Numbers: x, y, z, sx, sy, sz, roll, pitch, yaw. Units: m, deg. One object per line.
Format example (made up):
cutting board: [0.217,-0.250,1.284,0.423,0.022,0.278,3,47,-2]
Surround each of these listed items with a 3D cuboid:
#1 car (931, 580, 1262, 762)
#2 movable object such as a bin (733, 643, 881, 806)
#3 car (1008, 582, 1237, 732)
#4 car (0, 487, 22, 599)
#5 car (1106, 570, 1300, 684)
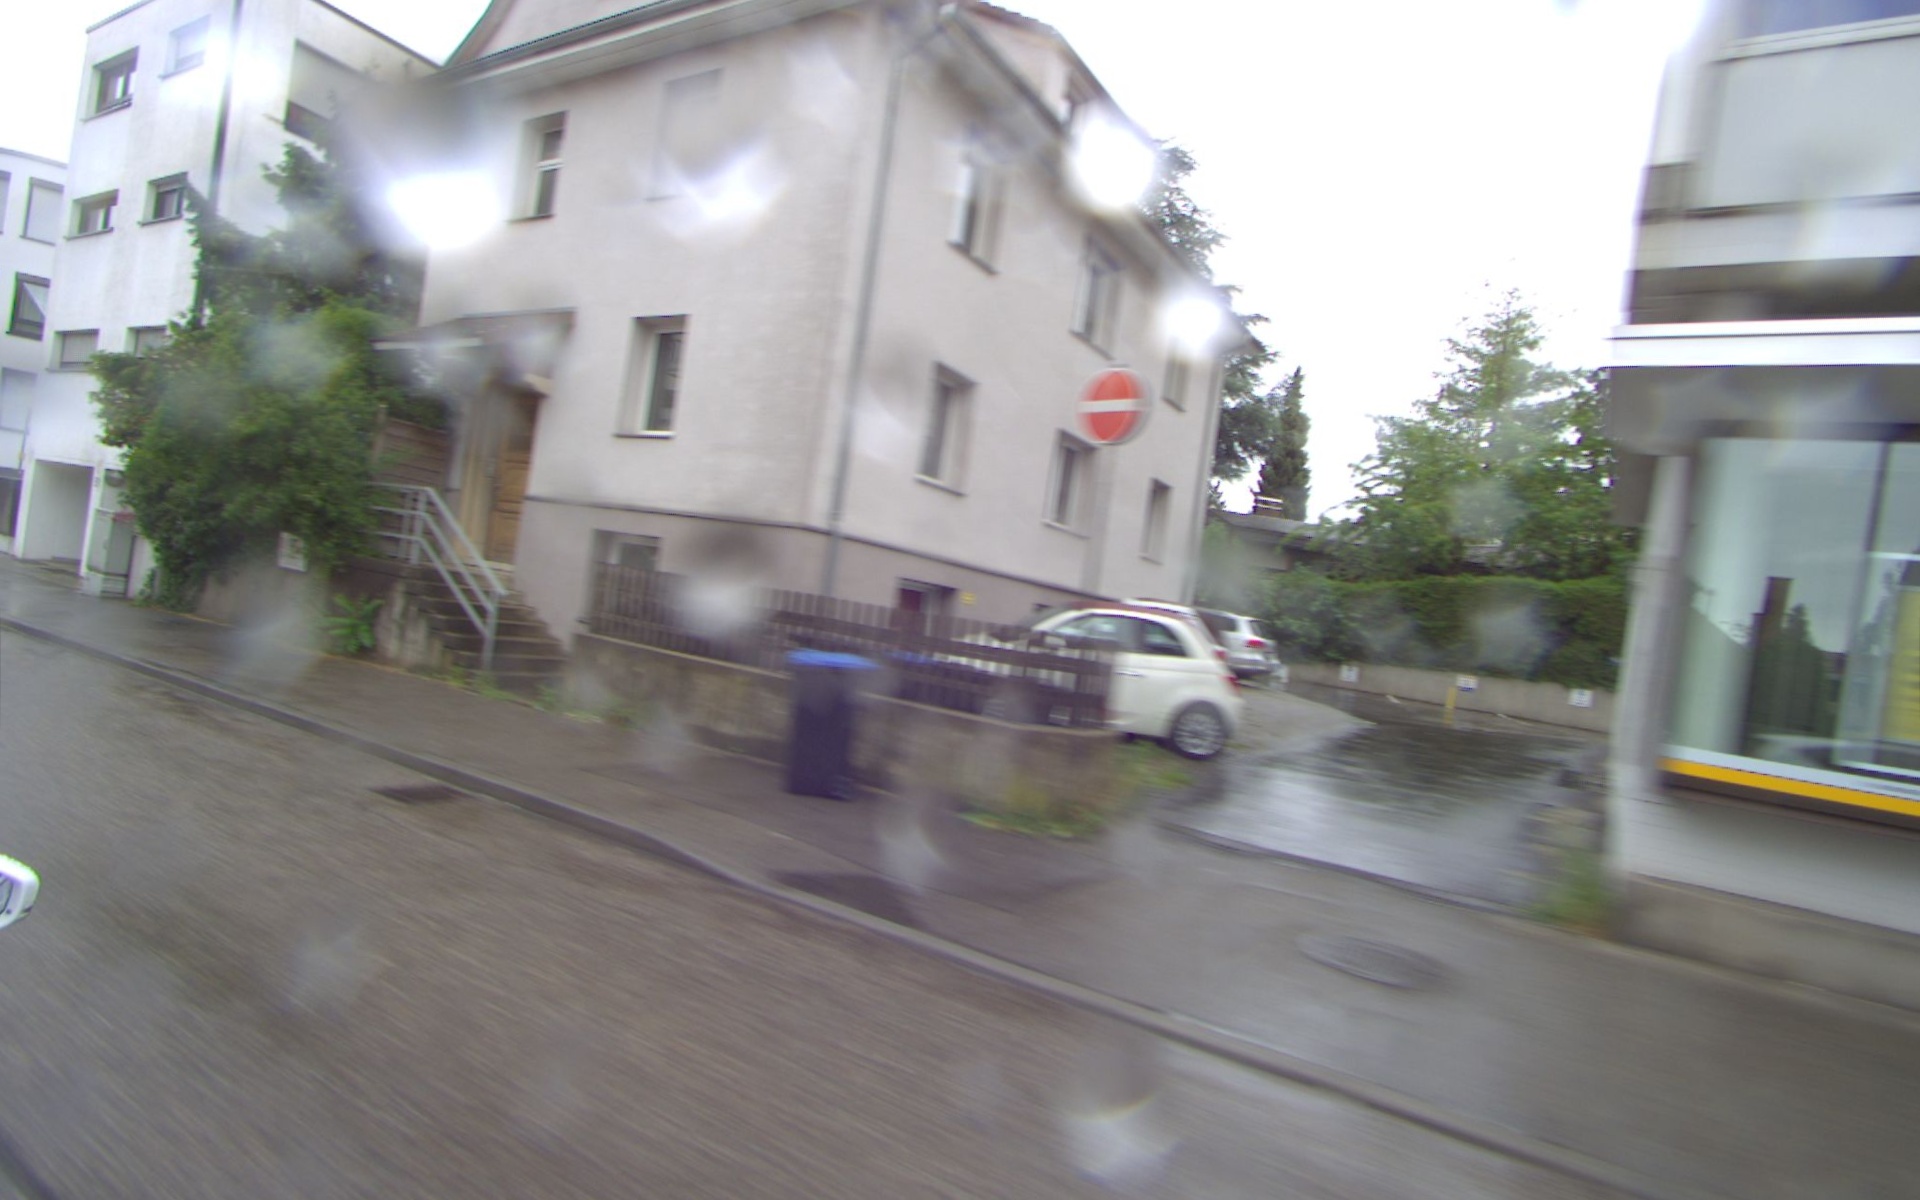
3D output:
car: [1.408,0.733,11.119,3.280,1.522,1.353,7,3,-3]
movable object such as a bin: [-1.168,0.922,7.683,0.816,1.062,0.576,9,2,32]
car: [2.225,0.715,13.641,2.759,1.566,1.316,7,3,17]
car: [-16.375,-1.077,15.146,4.287,1.640,2.016,5,-2,30]
car: [5.270,0.584,21.869,3.557,2.038,1.743,6,0,32]
